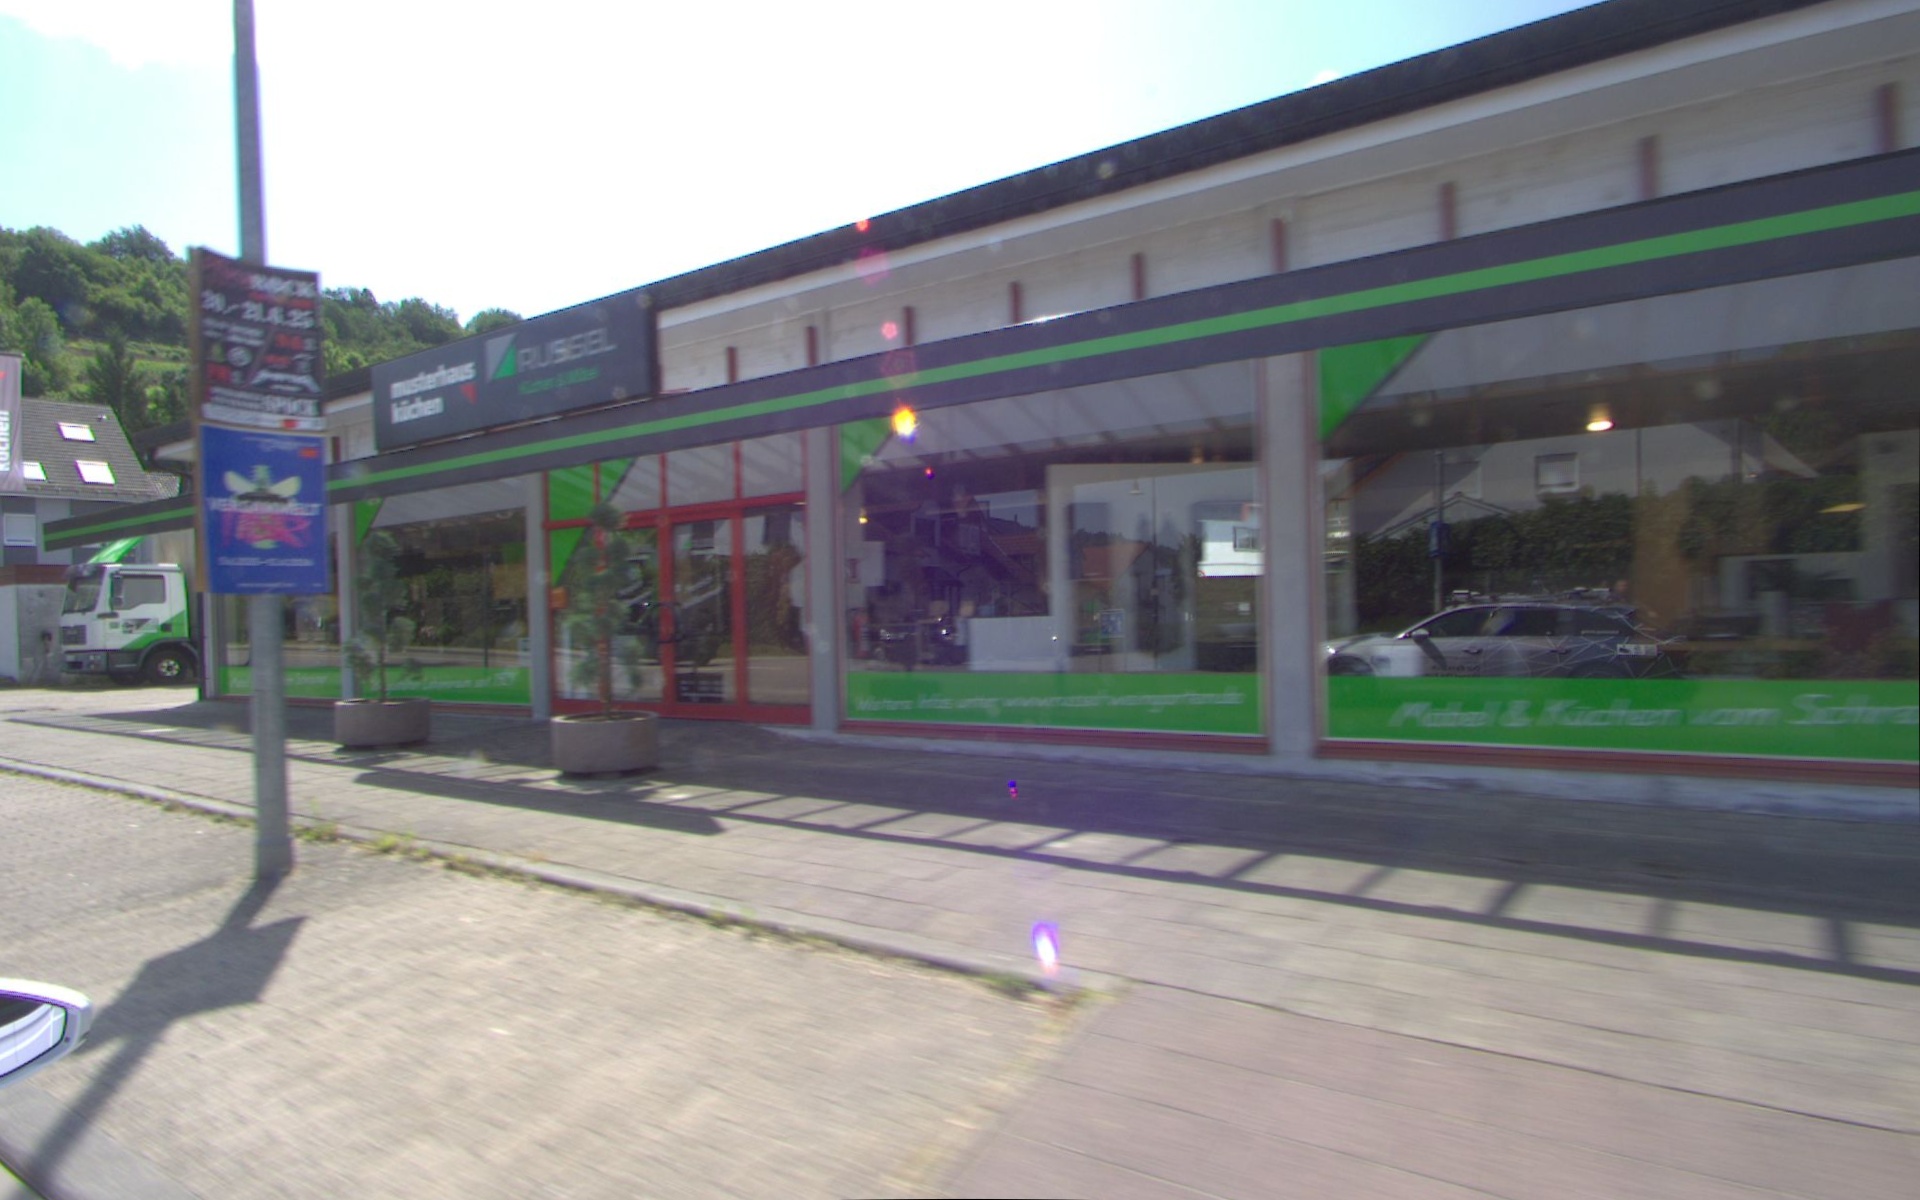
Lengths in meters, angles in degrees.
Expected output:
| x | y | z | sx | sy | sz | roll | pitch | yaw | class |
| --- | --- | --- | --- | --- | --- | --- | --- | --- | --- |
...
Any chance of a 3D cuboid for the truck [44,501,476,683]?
| x | y | z | sx | sy | sz | roll | pitch | yaw | class |
| --- | --- | --- | --- | --- | --- | --- | --- | --- | --- |
| -16.250 | -0.063 | 24.096 | 2.640 | 3.618 | 8.156 | -2 | -1 | 31 | truck |
